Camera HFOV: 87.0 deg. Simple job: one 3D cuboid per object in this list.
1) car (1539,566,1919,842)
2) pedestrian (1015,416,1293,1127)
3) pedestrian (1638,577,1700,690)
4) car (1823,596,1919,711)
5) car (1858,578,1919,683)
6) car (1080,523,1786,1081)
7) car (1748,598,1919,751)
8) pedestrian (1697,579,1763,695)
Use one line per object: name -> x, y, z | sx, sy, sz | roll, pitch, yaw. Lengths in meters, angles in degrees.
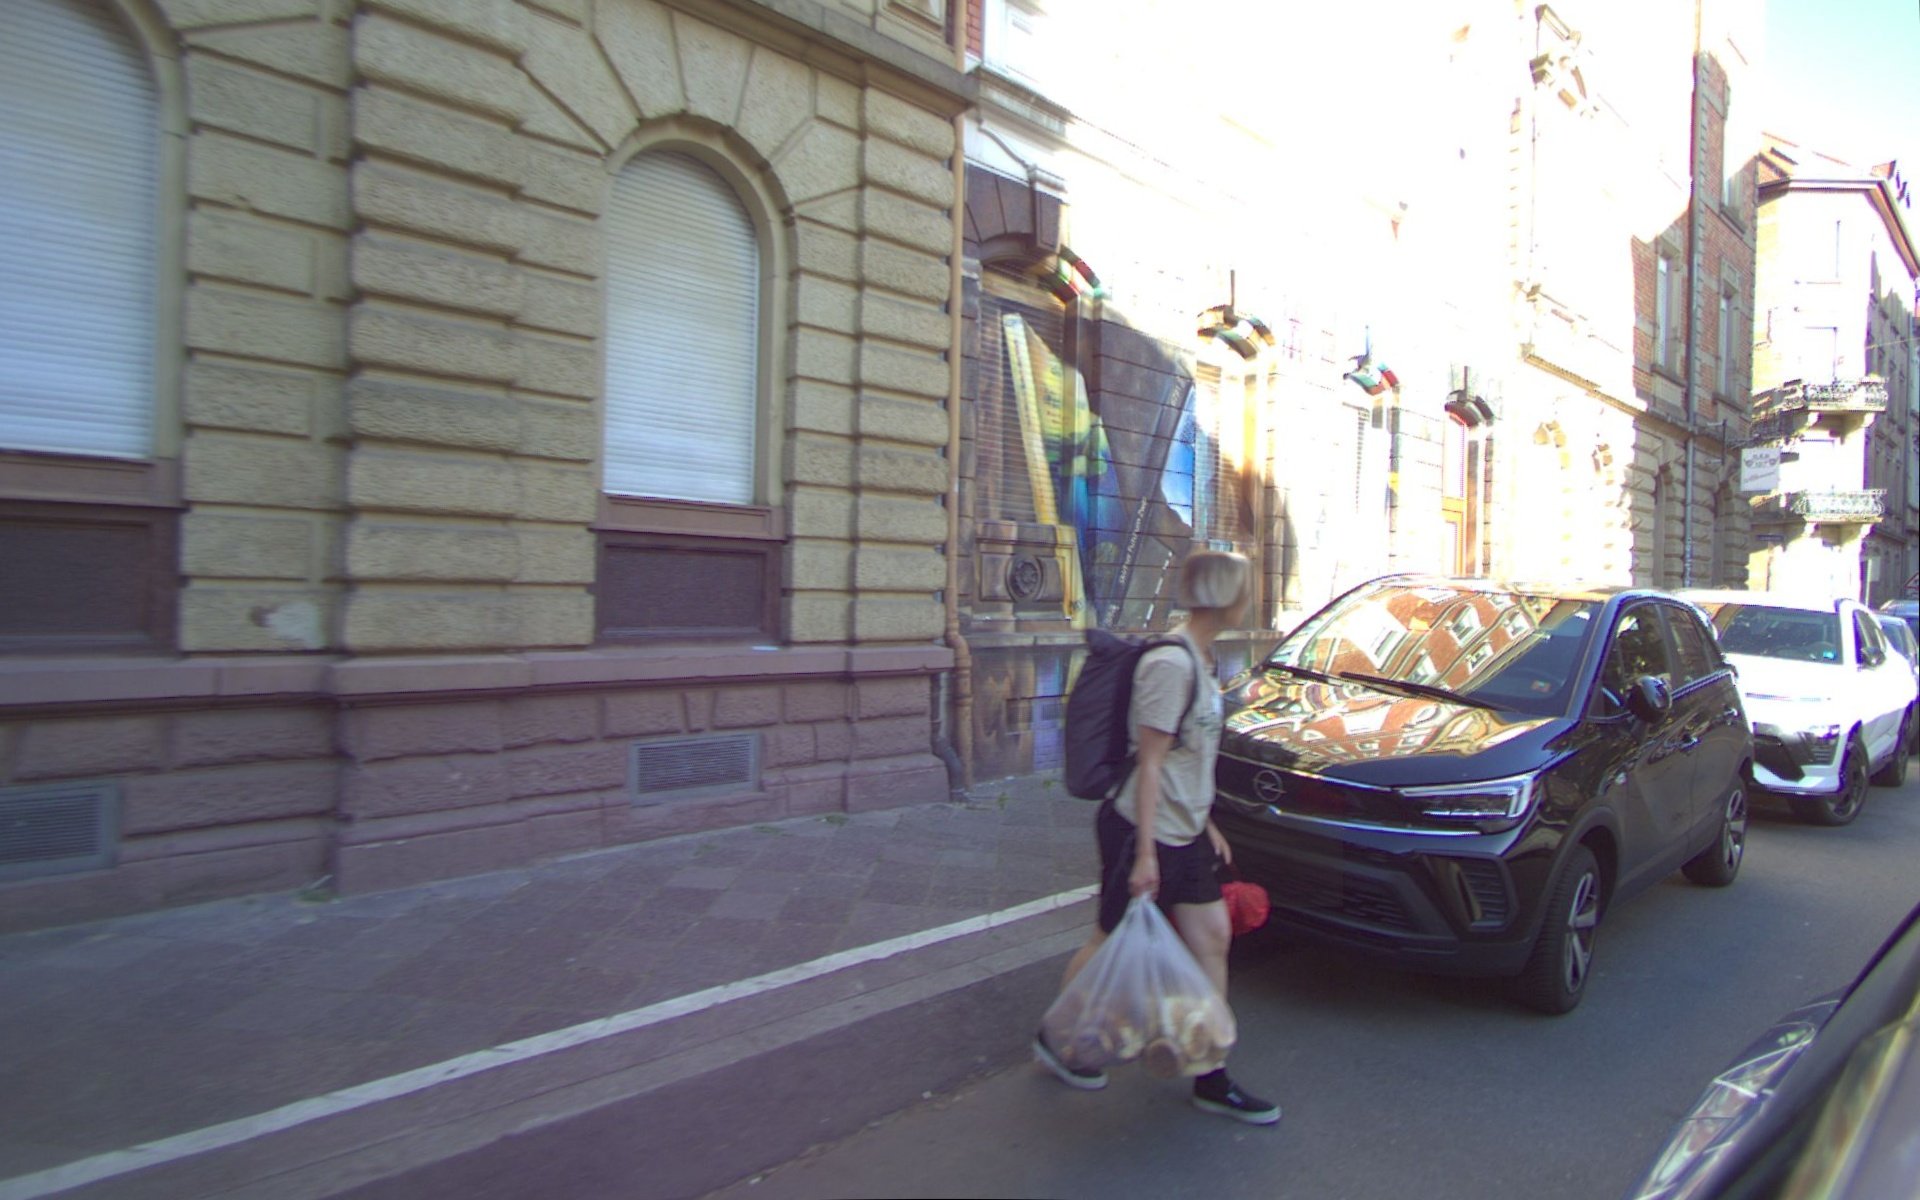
car -> 6.547, 0.646, 8.308 | 4.140, 1.711, 1.811 | 0, -1, -40
pedestrian -> 0.593, 0.431, 2.996 | 0.671, 1.795, 0.636 | 0, -1, 25
pedestrian -> 10.731, 0.487, 15.314 | 0.722, 1.642, 0.575 | 2, 1, -43
car -> 14.260, 0.749, 15.204 | 3.619, 1.532, 1.537 | 1, 2, -43
car -> 17.502, 0.539, 18.130 | 3.871, 1.735, 1.706 | 1, 2, -43
car -> 2.523, 0.598, 4.934 | 3.855, 1.663, 1.690 | 1, 1, -41
car -> 10.676, 0.774, 12.040 | 3.844, 1.545, 1.572 | 1, -1, -45
pedestrian -> 11.278, 0.528, 14.814 | 0.715, 1.624, 0.591 | 2, 1, -43
